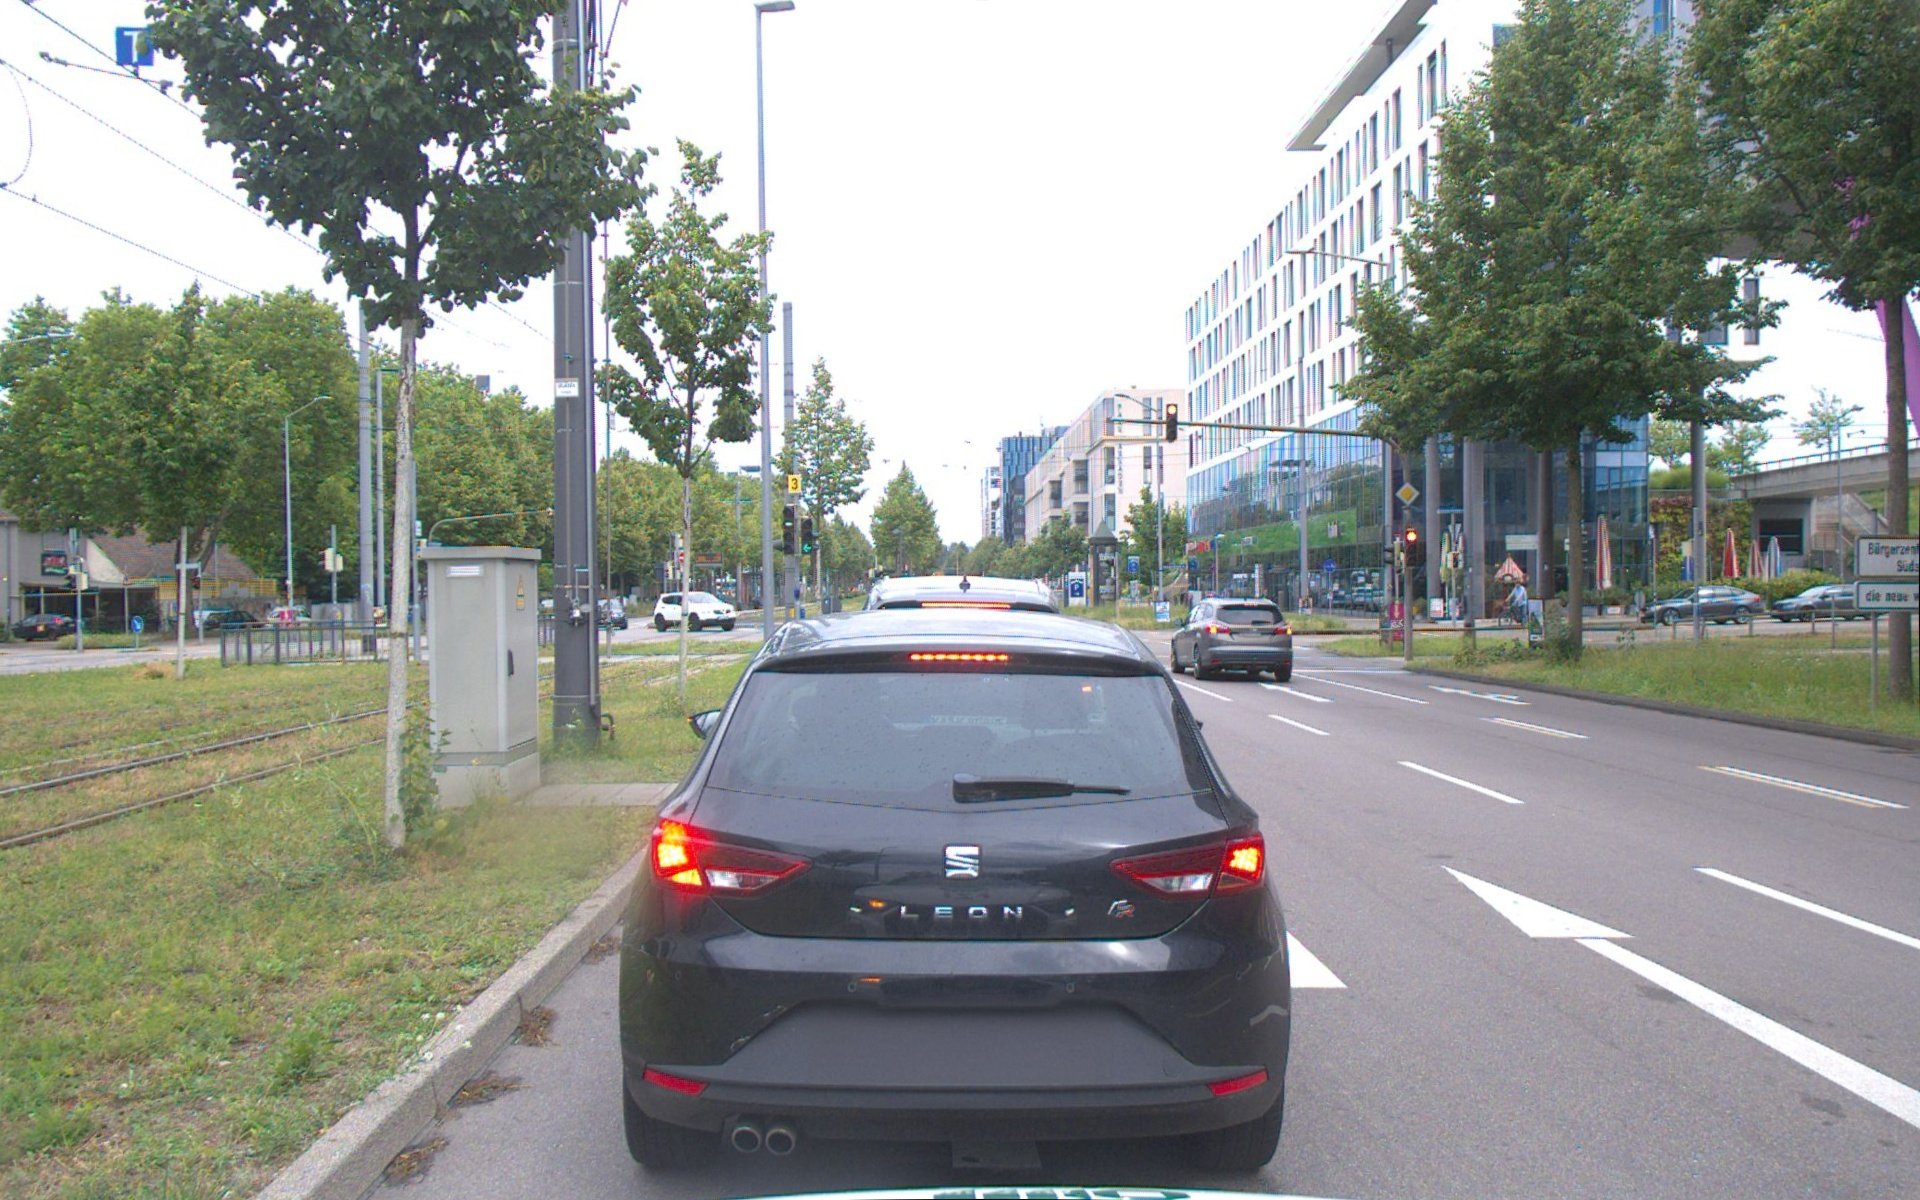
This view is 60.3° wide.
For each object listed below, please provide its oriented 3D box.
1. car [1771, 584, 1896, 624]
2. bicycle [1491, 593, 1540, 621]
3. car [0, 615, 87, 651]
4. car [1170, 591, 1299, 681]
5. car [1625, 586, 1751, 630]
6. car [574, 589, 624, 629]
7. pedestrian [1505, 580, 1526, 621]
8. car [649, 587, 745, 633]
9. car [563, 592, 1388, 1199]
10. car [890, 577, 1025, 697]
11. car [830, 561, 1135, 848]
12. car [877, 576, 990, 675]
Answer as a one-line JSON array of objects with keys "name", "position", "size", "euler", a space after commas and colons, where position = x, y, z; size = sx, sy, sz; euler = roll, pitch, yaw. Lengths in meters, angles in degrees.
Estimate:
[{"name": "car", "position": [34.426, 0.144, 65.277], "size": [3.996, 1.480, 1.758], "euler": [-1, 0, 1]}, {"name": "bicycle", "position": [22.367, 0.286, 66.608], "size": [1.755, 1.104, 0.618], "euler": [-1, 0, 1]}, {"name": "car", "position": [-50.469, 1.787, 90.610], "size": [4.190, 1.847, 2.108], "euler": [-1, 0, 3]}, {"name": "car", "position": [5.152, 0.621, 31.567], "size": [1.712, 1.525, 4.268], "euler": [0, 1, -1]}, {"name": "car", "position": [28.519, 0.303, 64.867], "size": [4.163, 1.643, 1.758], "euler": [-1, 0, 1]}, {"name": "car", "position": [-17.031, 0.404, 77.942], "size": [1.962, 1.780, 3.980], "euler": [-1, 0, -18]}, {"name": "pedestrian", "position": [22.374, 0.017, 66.606], "size": [0.602, 1.632, 0.619], "euler": [-1, 0, 1]}, {"name": "car", "position": [-10.728, 0.389, 67.370], "size": [1.983, 1.780, 4.137], "euler": [-1, 0, -41]}, {"name": "car", "position": [-0.016, 0.712, 5.447], "size": [1.708, 1.442, 3.999], "euler": [1, 0, -2]}, {"name": "car", "position": [0.032, 0.518, 26.059], "size": [1.952, 1.711, 4.001], "euler": [1, 1, 2]}, {"name": "car", "position": [0.105, 0.593, 11.675], "size": [1.766, 1.653, 3.999], "euler": [-1, 0, -1]}, {"name": "car", "position": [-0.427, 0.428, 31.113], "size": [1.952, 1.711, 4.001], "euler": [1, 1, 1]}]
